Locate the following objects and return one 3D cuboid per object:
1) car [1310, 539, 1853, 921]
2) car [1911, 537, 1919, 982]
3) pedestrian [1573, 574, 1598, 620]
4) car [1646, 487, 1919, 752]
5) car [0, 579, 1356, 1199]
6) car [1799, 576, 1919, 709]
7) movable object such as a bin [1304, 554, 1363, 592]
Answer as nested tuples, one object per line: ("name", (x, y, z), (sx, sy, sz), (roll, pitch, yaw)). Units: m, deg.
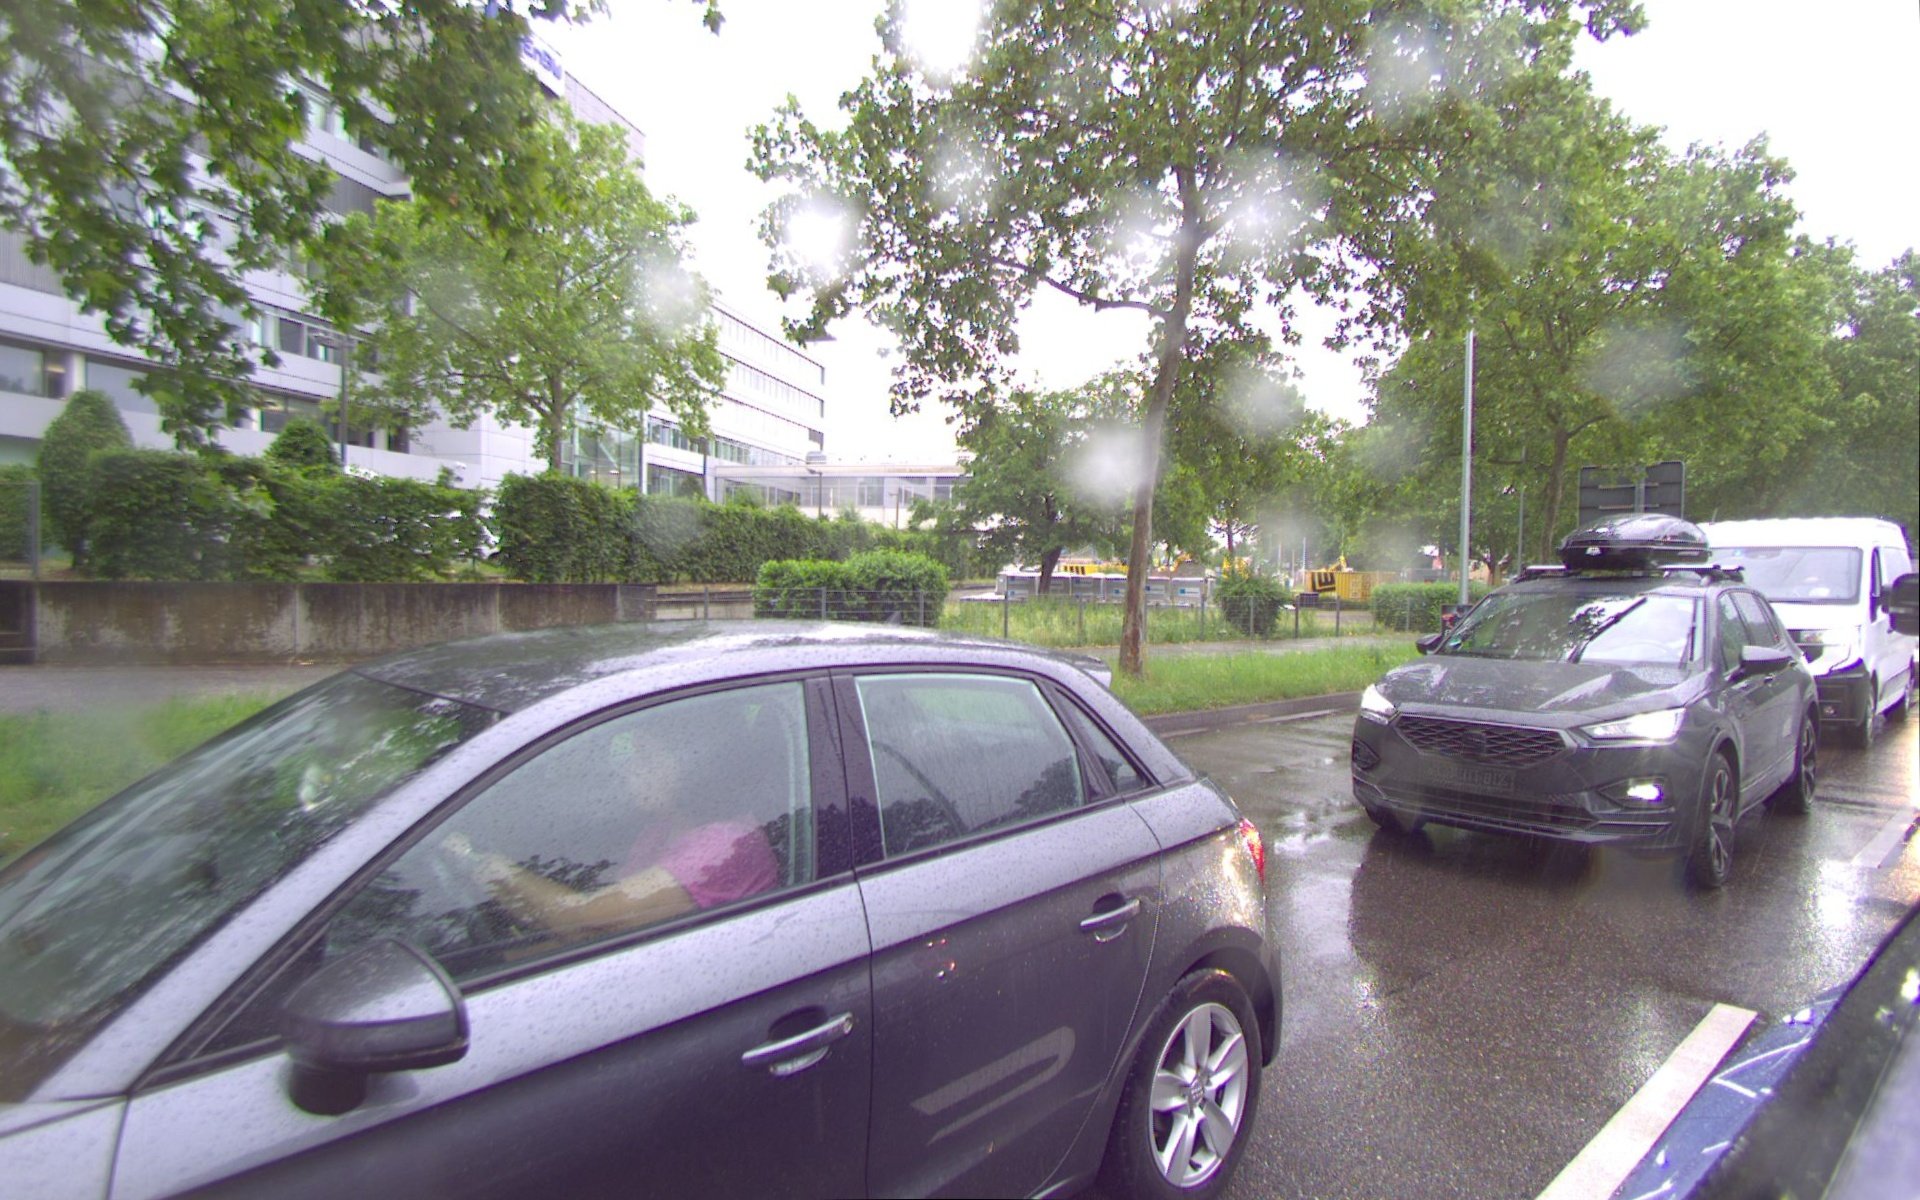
("car", (4.319, 0.559, 6.714), (4.347, 1.719, 1.892), (0, 1, -42))
("car", (6.321, 0.179, 4.952), (5.599, 2.544, 2.024), (0, 1, -43))
("pedestrian", (23.849, -0.128, 38.582), (0.645, 1.738, 0.645), (0, 0, -40))
("car", (9.947, 0.154, 11.932), (5.227, 2.476, 1.892), (0, 1, -43))
("car", (-0.871, 0.690, 2.163), (3.715, 1.446, 1.679), (0, 1, -41))
("car", (15.389, 0.606, 16.673), (4.470, 1.937, 1.805), (0, 1, -43))
("movable object such as a bin", (34.801, -2.454, 94.345), (1.882, 3.478, 4.937), (0, 0, -36))
